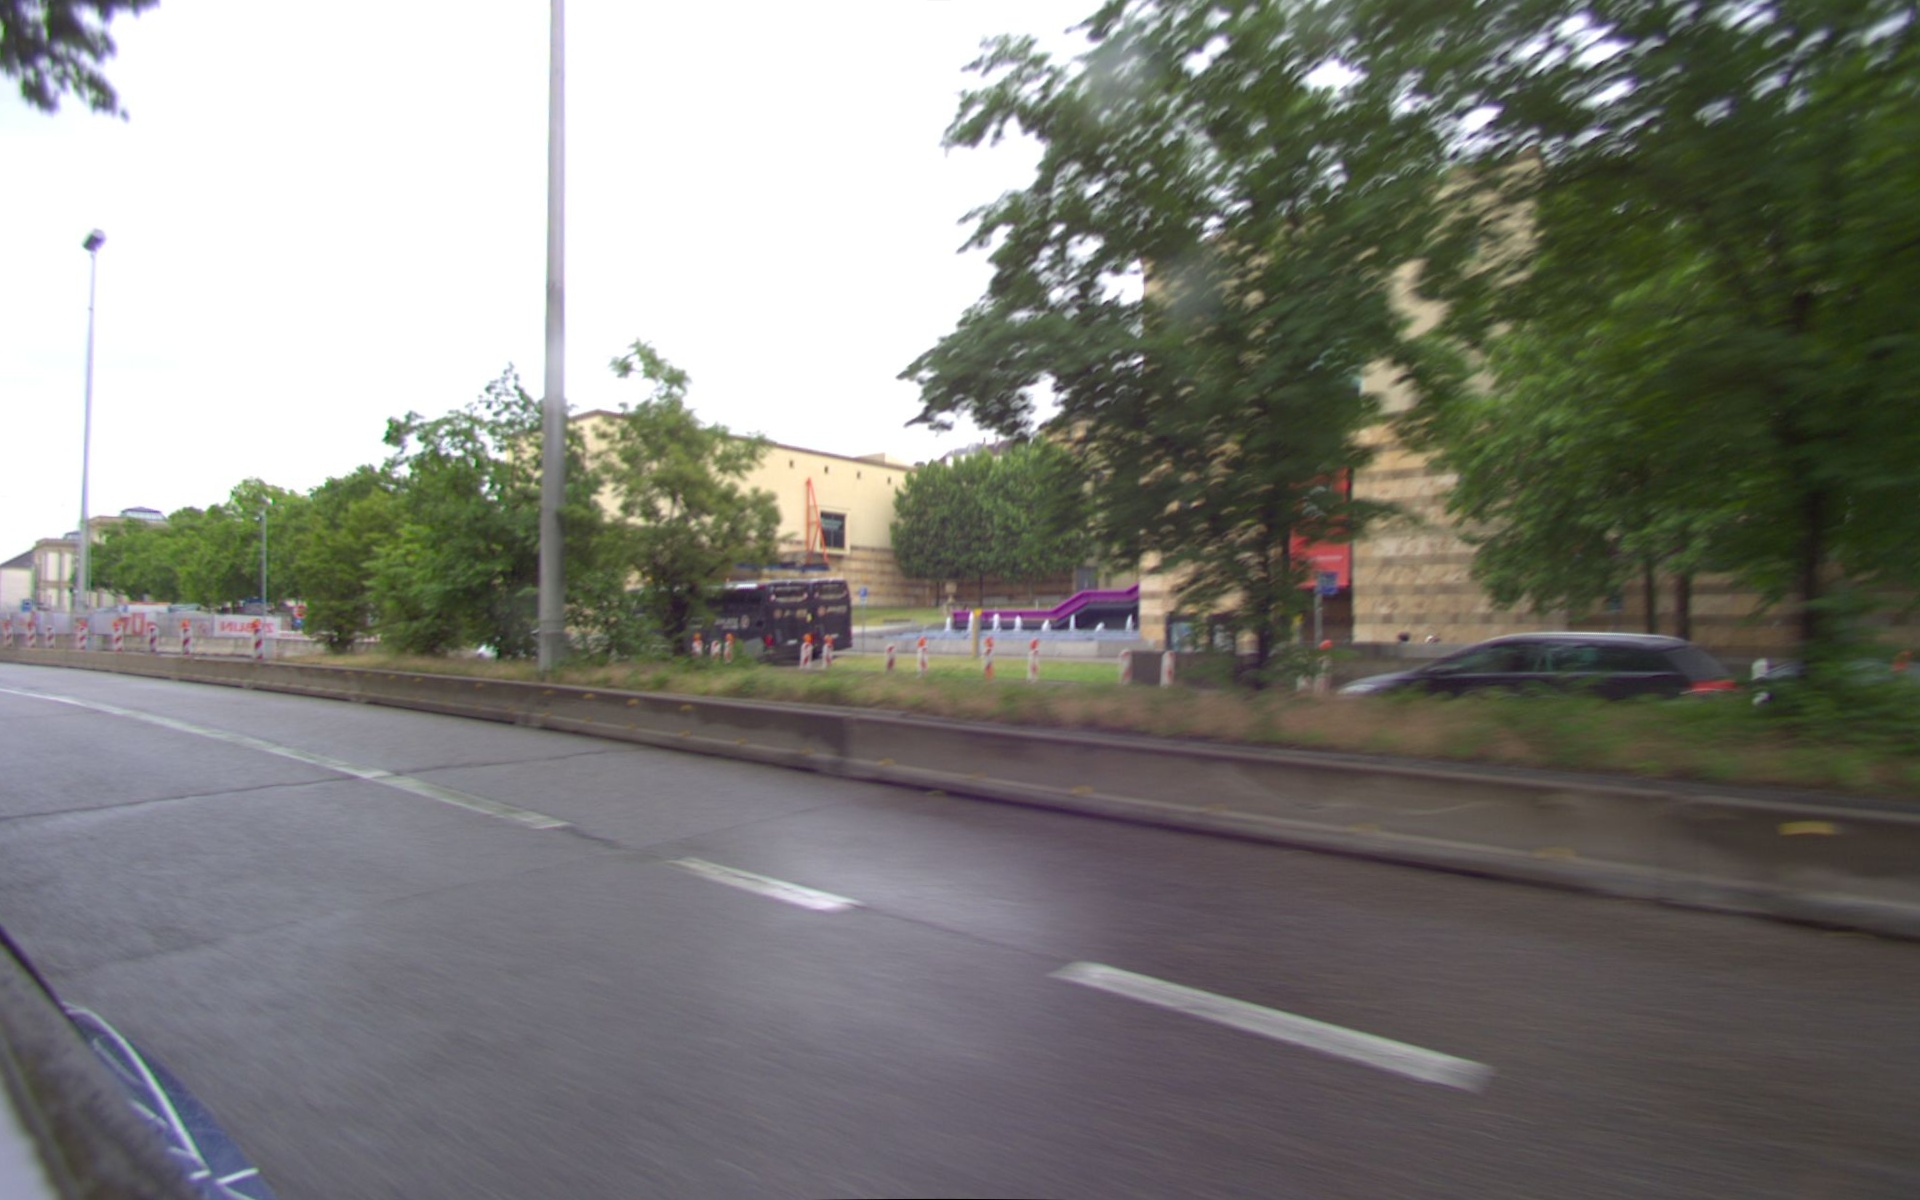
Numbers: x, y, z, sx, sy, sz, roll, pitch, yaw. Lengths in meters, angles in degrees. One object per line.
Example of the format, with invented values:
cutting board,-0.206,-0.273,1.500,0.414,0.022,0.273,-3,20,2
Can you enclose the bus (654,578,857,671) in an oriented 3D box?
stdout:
bus,-10.900,1.361,52.107,13.496,4.284,3.084,-3,-2,44

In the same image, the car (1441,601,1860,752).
car,8.105,0.863,12.144,3.929,1.519,1.529,-3,-3,41

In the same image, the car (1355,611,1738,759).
car,7.483,1.022,13.089,3.996,1.608,1.973,-2,-4,39

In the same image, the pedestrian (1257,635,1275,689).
pedestrian,11.696,2.379,38.718,0.511,2.029,0.473,-2,-5,41

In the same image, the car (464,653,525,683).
car,-24.568,3.562,53.372,3.209,1.512,1.576,-2,-5,38

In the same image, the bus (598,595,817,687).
bus,-12.457,1.956,48.171,14.600,3.840,2.773,-3,-2,44
